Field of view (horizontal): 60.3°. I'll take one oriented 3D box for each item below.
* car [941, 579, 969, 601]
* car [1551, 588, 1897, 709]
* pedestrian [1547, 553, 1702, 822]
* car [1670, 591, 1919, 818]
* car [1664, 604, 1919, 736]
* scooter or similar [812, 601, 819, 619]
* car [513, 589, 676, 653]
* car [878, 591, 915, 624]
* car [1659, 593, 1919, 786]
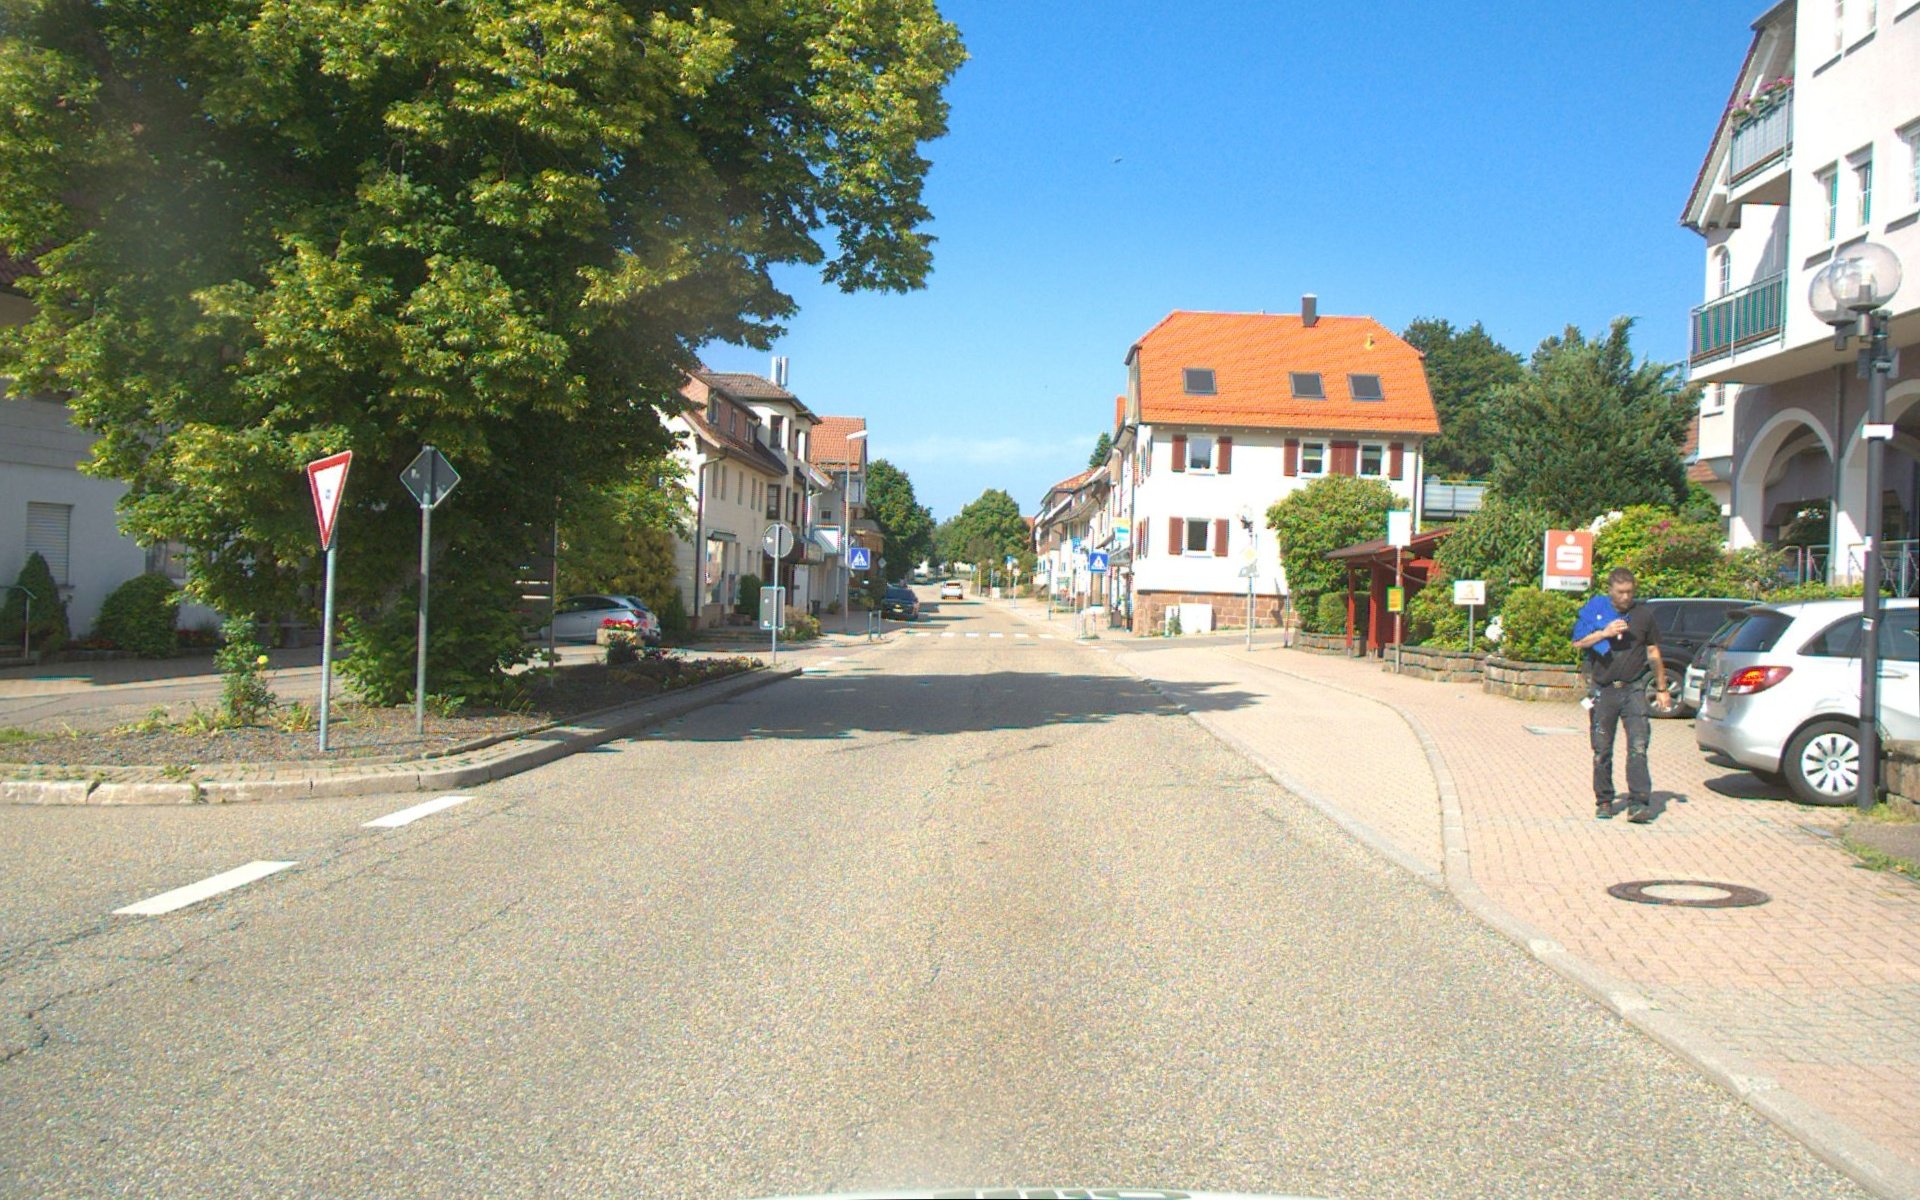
[{"bbox_3d":[-0.517,-0.951,161.157,2.446,2.049,4.302,-1,0,-3],"label":"car"},{"bbox_3d":[10.376,0.627,22.708,3.903,1.575,1.882,0,0,4],"label":"car"},{"bbox_3d":[4.676,0.584,11.692,0.782,1.815,0.980,0,0,7],"label":"pedestrian"},{"bbox_3d":[7.610,0.757,12.586,3.780,1.585,1.964,1,1,15],"label":"car"},{"bbox_3d":[10.337,0.803,19.876,3.164,1.494,1.630,0,0,9],"label":"car"},{"bbox_3d":[-7.216,0.506,82.760,0.344,0.905,0.394,-1,0,-5],"label":"scooter or similar"},{"bbox_3d":[-9.412,0.572,42.709,3.679,1.480,1.818,-1,-5,14],"label":"car"},{"bbox_3d":[-3.366,0.395,88.195,1.638,1.559,3.536,5,1,1],"label":"car"},{"bbox_3d":[8.601,0.802,14.951,3.902,1.576,1.739,2,1,12],"label":"car"}]
